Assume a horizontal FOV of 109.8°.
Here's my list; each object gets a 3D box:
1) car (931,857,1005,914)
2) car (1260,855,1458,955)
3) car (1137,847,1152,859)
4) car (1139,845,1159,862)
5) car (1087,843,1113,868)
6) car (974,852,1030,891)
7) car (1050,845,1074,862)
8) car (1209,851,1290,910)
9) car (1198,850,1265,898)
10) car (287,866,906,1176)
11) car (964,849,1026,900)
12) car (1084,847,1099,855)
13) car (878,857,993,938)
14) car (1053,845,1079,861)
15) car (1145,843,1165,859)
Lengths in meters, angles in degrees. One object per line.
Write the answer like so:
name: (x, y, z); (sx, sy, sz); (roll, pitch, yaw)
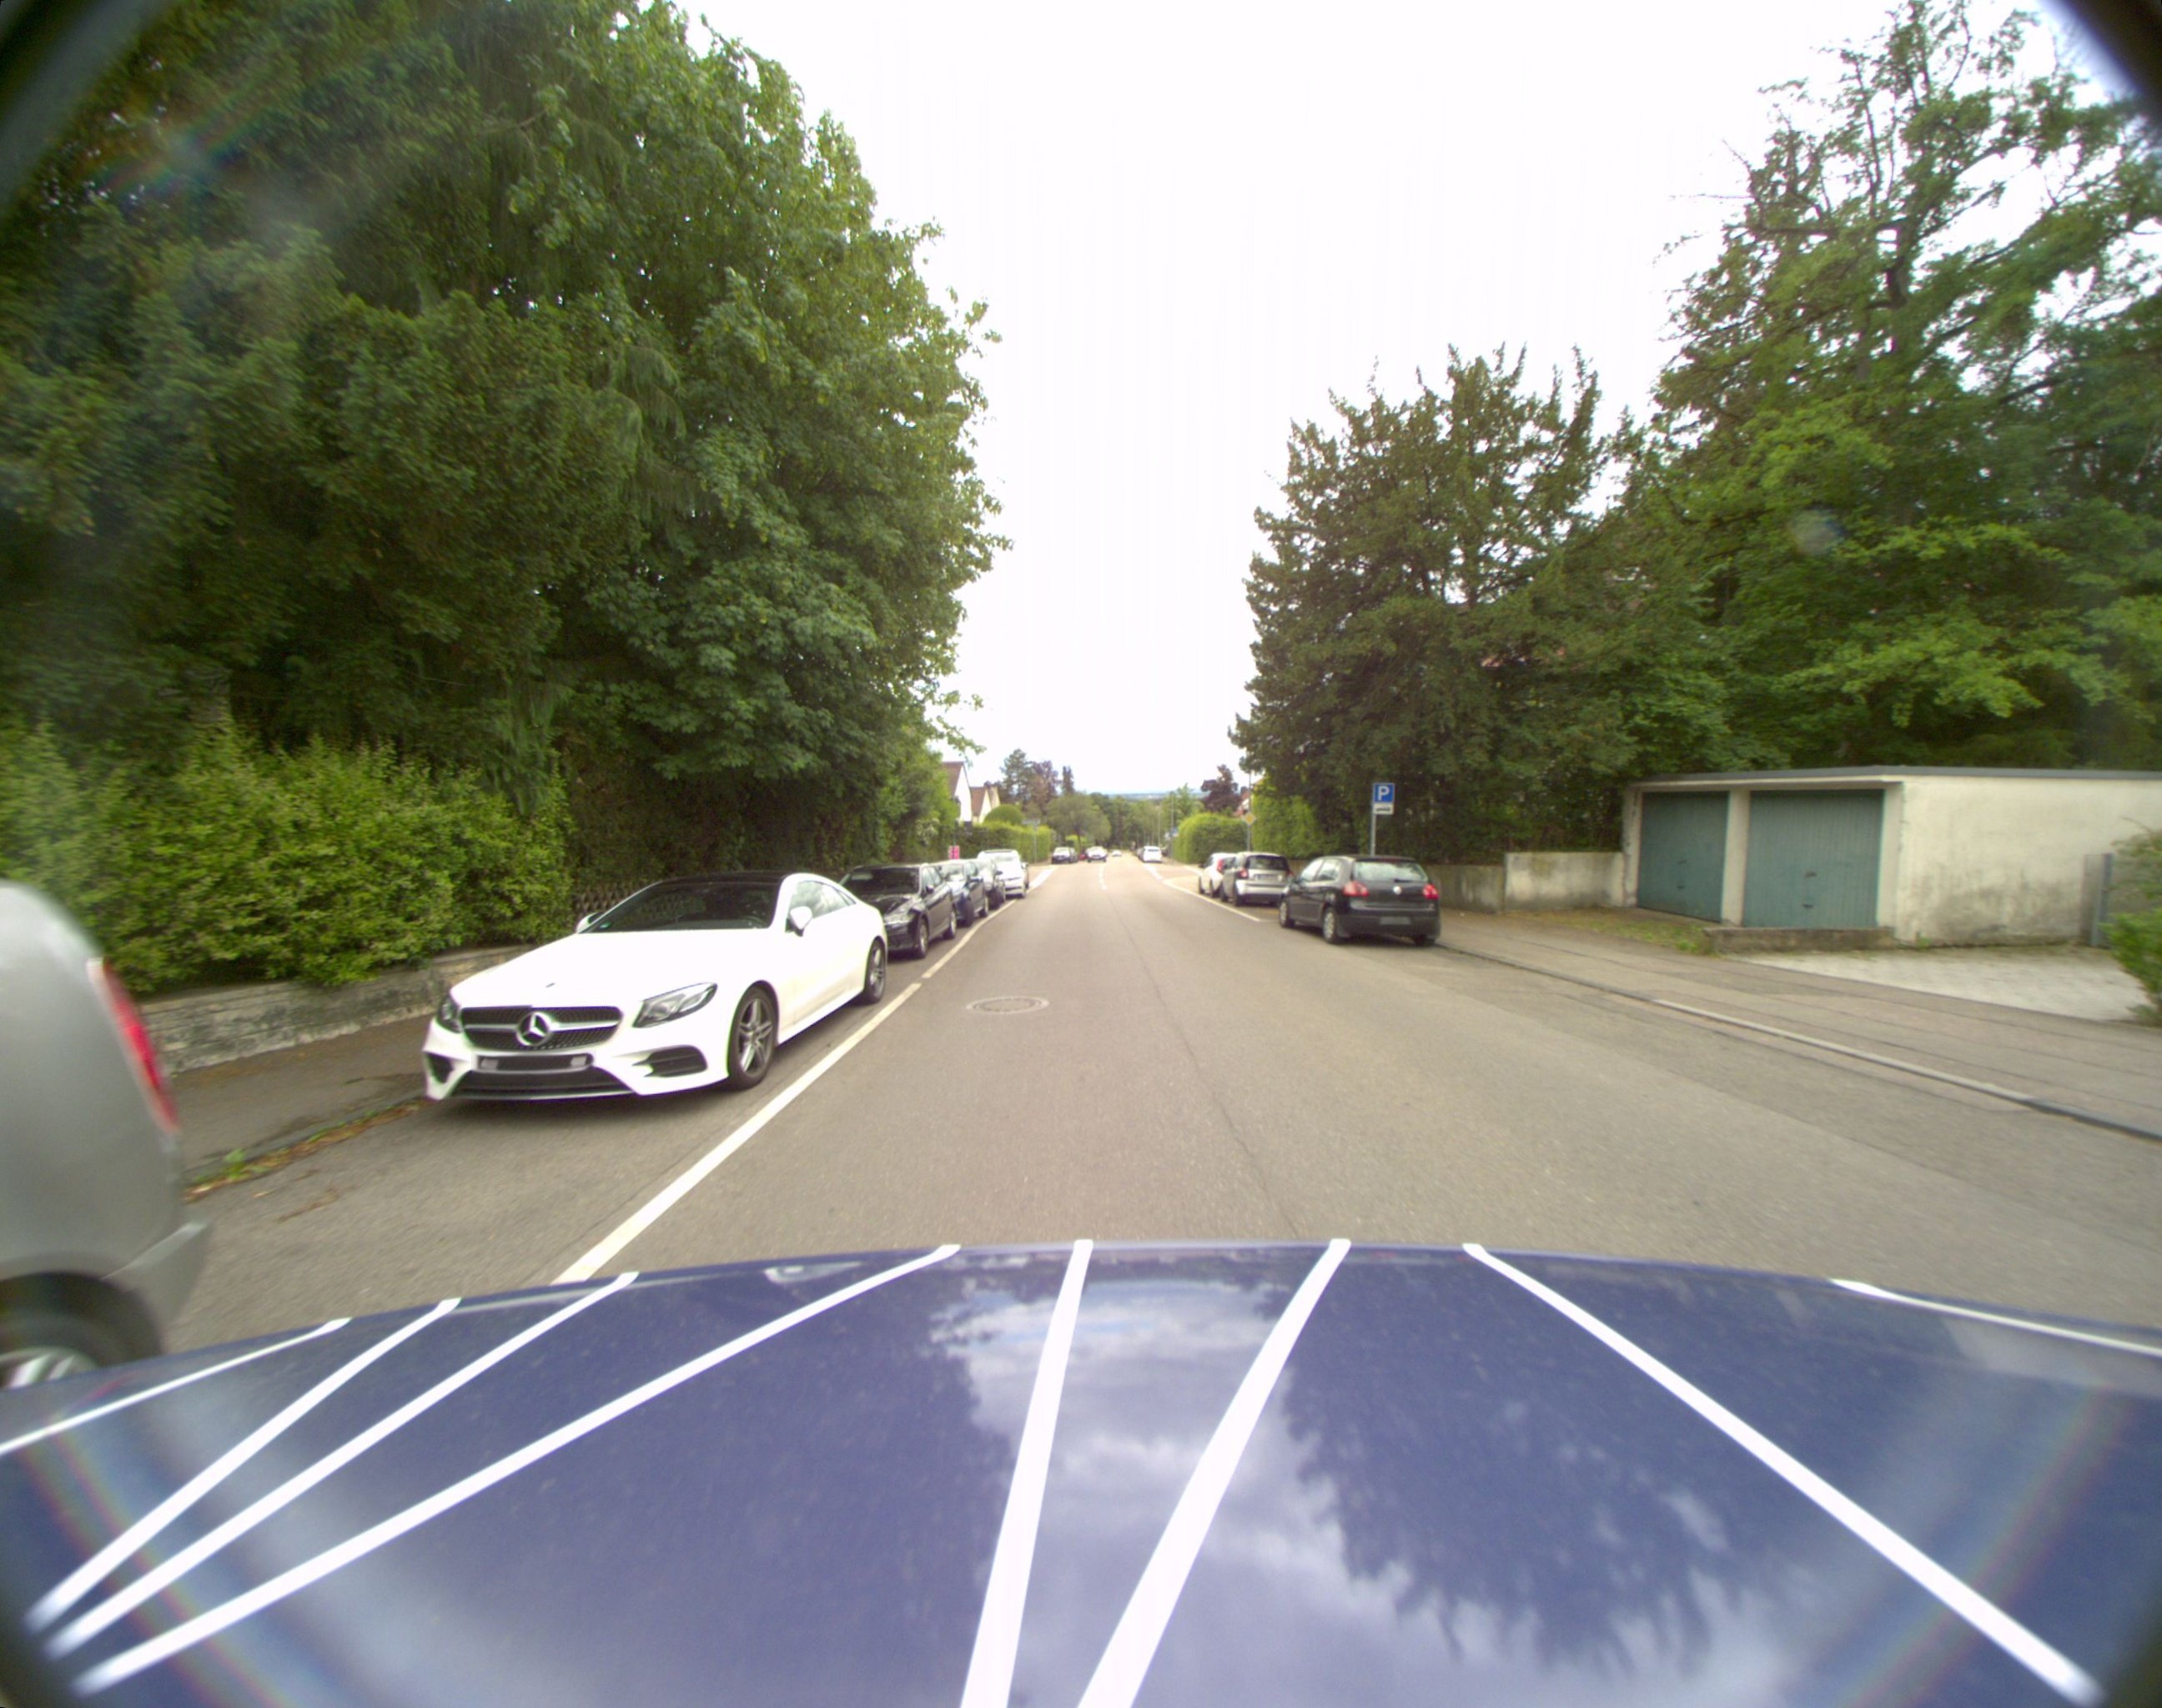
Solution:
car: (-3.200, 0.841, 22.239); (1.815, 1.444, 4.376); (0, 1, -4)
car: (4.823, 0.791, 14.003); (1.855, 1.461, 4.682); (0, 1, -1)
car: (8.470, -0.157, 101.274); (1.944, 1.540, 4.006); (1, 1, 4)
car: (6.756, -0.108, 75.626); (1.786, 1.481, 4.739); (3, 1, 4)
car: (1.836, 0.172, 73.551); (1.999, 2.001, 4.001); (-11, -1, -1)
car: (-3.229, 0.672, 31.852); (1.942, 1.483, 4.455); (0, 1, -1)
car: (-1.673, -0.057, 69.571); (1.794, 1.480, 4.380); (1, 1, 4)
car: (4.758, 0.705, 21.845); (1.628, 1.510, 2.974); (0, 1, -1)
car: (5.022, 0.636, 25.746); (1.748, 1.440, 3.514); (1, 1, 4)
car: (-3.120, 0.918, 6.485); (1.998, 1.483, 5.004); (1, 1, 1)
car: (-2.948, 0.650, 26.905); (2.006, 1.599, 4.756); (0, 1, -4)
car: (1.653, -0.495, 117.237); (1.998, 1.221, 4.000); (0, 1, 4)
car: (-3.146, 0.883, 17.265); (1.702, 1.499, 4.159); (-2, 1, 1)
car: (-1.437, -0.090, 74.999); (1.927, 1.485, 5.210); (0, 0, 6)
car: (6.864, -0.296, 70.503); (1.693, 1.411, 3.580); (2, 1, 4)
